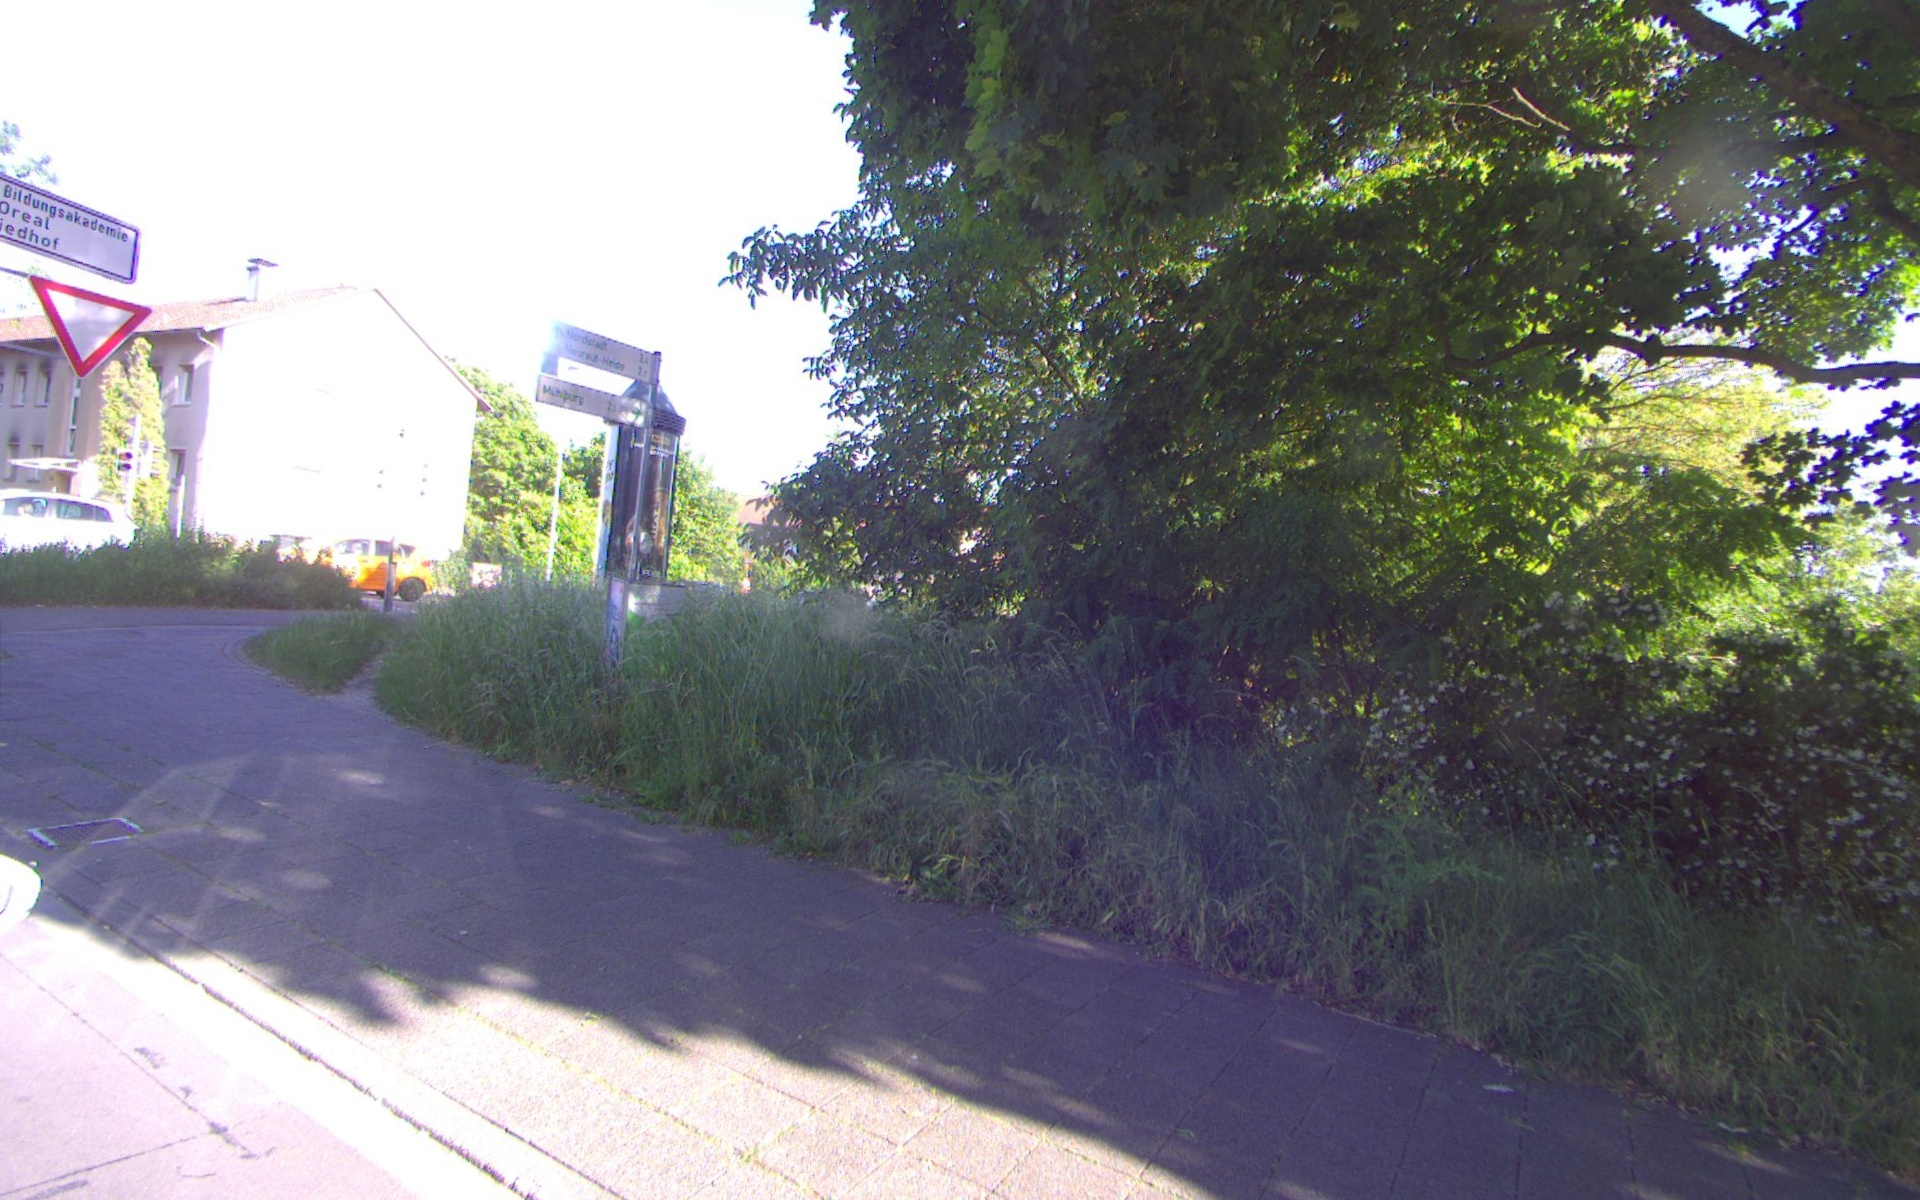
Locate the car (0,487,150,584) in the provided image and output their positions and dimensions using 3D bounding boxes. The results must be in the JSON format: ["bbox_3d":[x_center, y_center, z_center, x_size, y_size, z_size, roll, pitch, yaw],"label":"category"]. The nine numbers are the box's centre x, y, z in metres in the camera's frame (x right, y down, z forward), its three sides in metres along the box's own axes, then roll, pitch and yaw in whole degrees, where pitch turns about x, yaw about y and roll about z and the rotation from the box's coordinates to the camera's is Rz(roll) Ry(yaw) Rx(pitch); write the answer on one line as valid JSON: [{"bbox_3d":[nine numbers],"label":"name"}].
[{"bbox_3d":[-18.889,-1.401,19.826,1.727,1.581,4.117,6,-2,29],"label":"car"}]

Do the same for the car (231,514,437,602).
[{"bbox_3d":[-15.825,-1.017,25.592,1.731,1.601,3.988,6,-2,38],"label":"car"}]
